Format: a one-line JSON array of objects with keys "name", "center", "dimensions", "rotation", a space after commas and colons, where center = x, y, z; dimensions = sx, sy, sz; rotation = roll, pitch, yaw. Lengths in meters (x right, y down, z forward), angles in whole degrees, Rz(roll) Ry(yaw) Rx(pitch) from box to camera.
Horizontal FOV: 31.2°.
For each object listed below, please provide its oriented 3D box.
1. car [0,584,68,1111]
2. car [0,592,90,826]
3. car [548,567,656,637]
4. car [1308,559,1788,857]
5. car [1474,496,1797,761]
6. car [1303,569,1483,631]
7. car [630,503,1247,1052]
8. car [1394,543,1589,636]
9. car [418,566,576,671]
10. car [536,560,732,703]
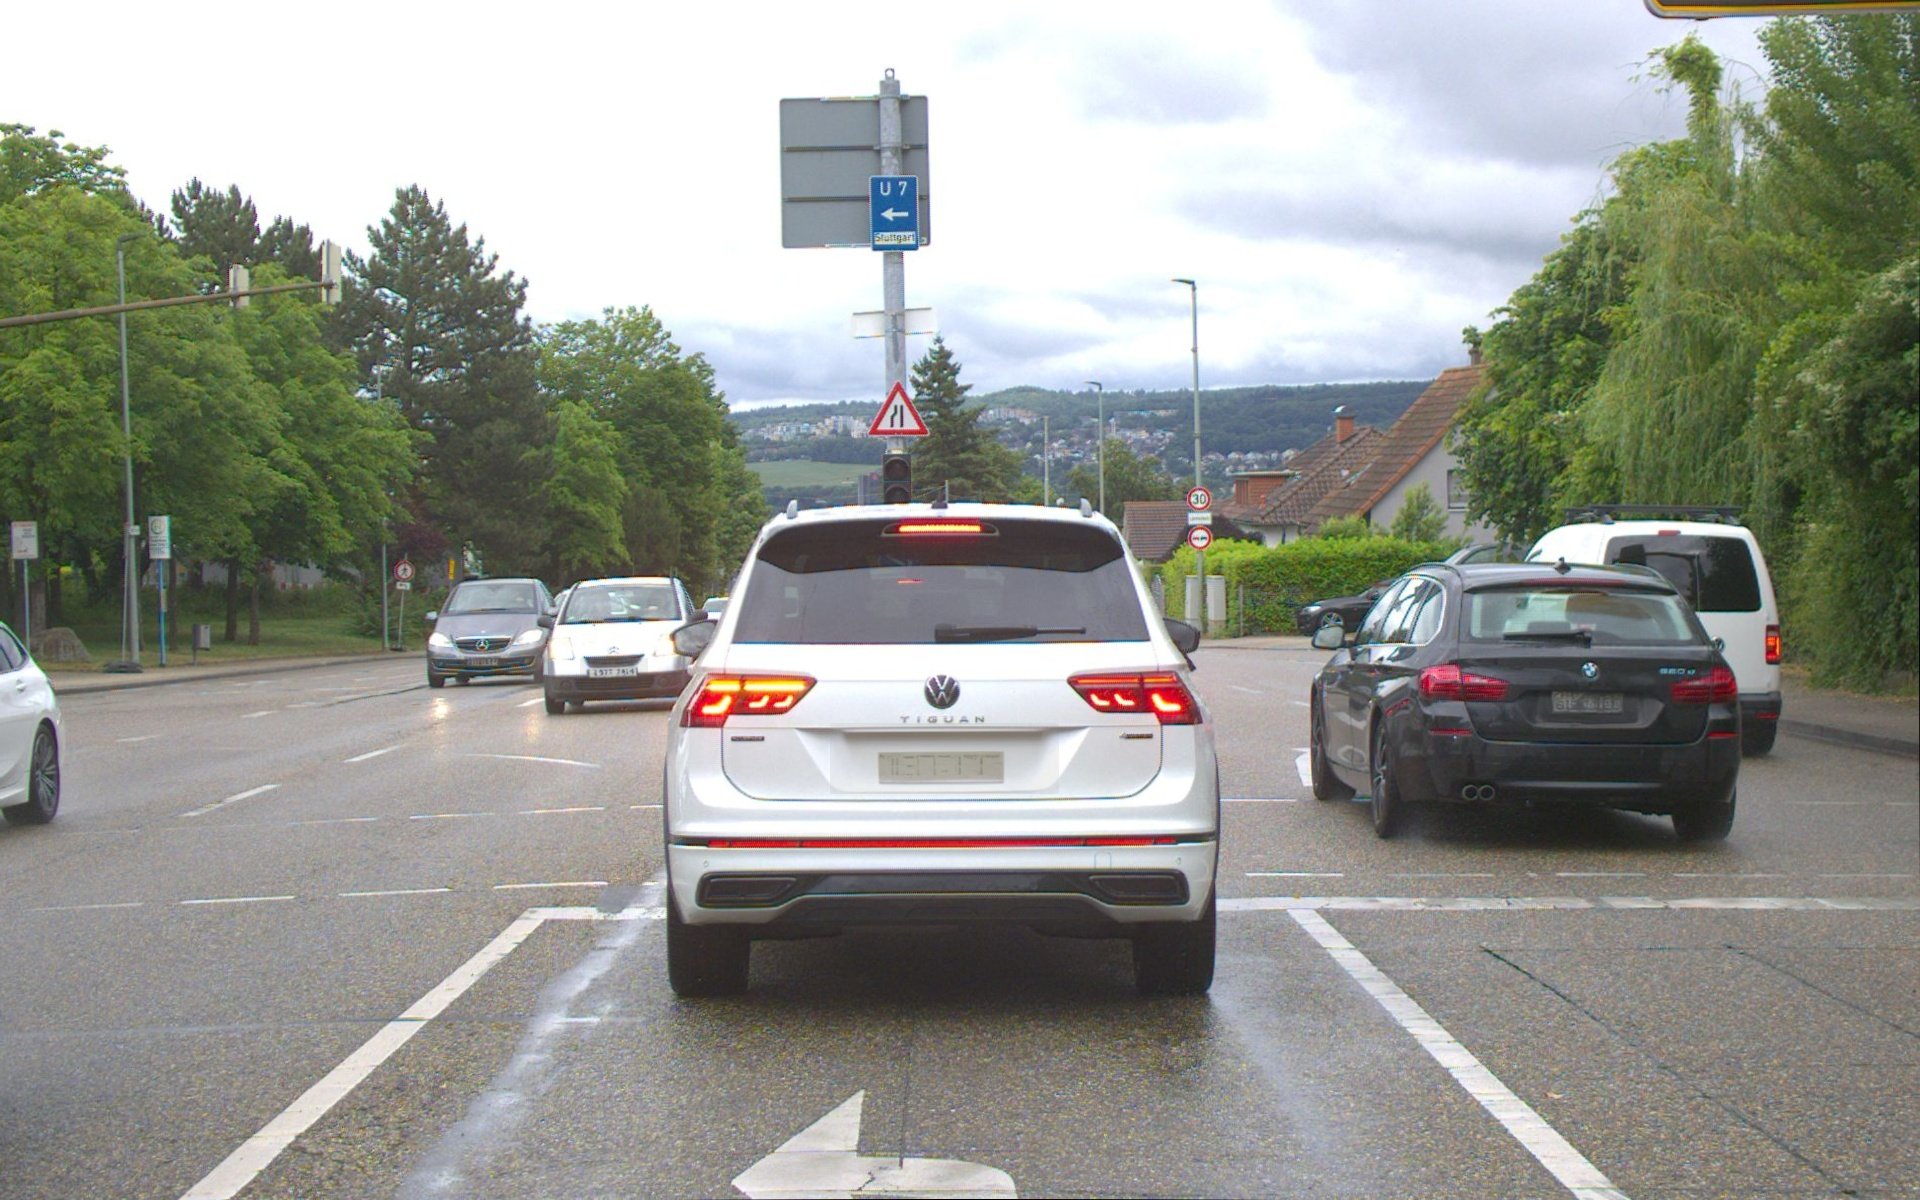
[{"name": "car", "center": [-3.443, 0.727, 7.531], "dimensions": [1.749, 1.380, 4.411], "rotation": [-3, 1, 0]}, {"name": "car", "center": [-6.688, 0.694, 20.691], "dimensions": [1.774, 1.380, 4.549], "rotation": [-1, 1, -1]}, {"name": "car", "center": [-7.008, 0.024, 67.574], "dimensions": [1.650, 1.269, 3.621], "rotation": [-1, 1, 2]}, {"name": "car", "center": [3.106, 0.546, 18.972], "dimensions": [1.899, 1.437, 4.000], "rotation": [1, 0, -1]}, {"name": "car", "center": [5.343, 0.160, 27.666], "dimensions": [1.764, 1.870, 3.806], "rotation": [0, 3, -1]}, {"name": "car", "center": [9.920, -0.013, 79.006], "dimensions": [3.987, 1.372, 1.585], "rotation": [1, 1, 3]}, {"name": "car", "center": [-0.087, 0.494, 12.435], "dimensions": [1.868, 1.668, 4.000], "rotation": [0, 1, -1]}, {"name": "car", "center": [11.438, -0.245, 74.137], "dimensions": [3.987, 1.949, 1.585], "rotation": [1, 1, 3]}, {"name": "car", "center": [-6.958, 0.249, 52.048], "dimensions": [1.774, 1.453, 4.549], "rotation": [-1, 1, 0]}, {"name": "car", "center": [-3.618, 0.312, 38.866], "dimensions": [1.774, 1.453, 4.549], "rotation": [-1, 1, 0]}]
